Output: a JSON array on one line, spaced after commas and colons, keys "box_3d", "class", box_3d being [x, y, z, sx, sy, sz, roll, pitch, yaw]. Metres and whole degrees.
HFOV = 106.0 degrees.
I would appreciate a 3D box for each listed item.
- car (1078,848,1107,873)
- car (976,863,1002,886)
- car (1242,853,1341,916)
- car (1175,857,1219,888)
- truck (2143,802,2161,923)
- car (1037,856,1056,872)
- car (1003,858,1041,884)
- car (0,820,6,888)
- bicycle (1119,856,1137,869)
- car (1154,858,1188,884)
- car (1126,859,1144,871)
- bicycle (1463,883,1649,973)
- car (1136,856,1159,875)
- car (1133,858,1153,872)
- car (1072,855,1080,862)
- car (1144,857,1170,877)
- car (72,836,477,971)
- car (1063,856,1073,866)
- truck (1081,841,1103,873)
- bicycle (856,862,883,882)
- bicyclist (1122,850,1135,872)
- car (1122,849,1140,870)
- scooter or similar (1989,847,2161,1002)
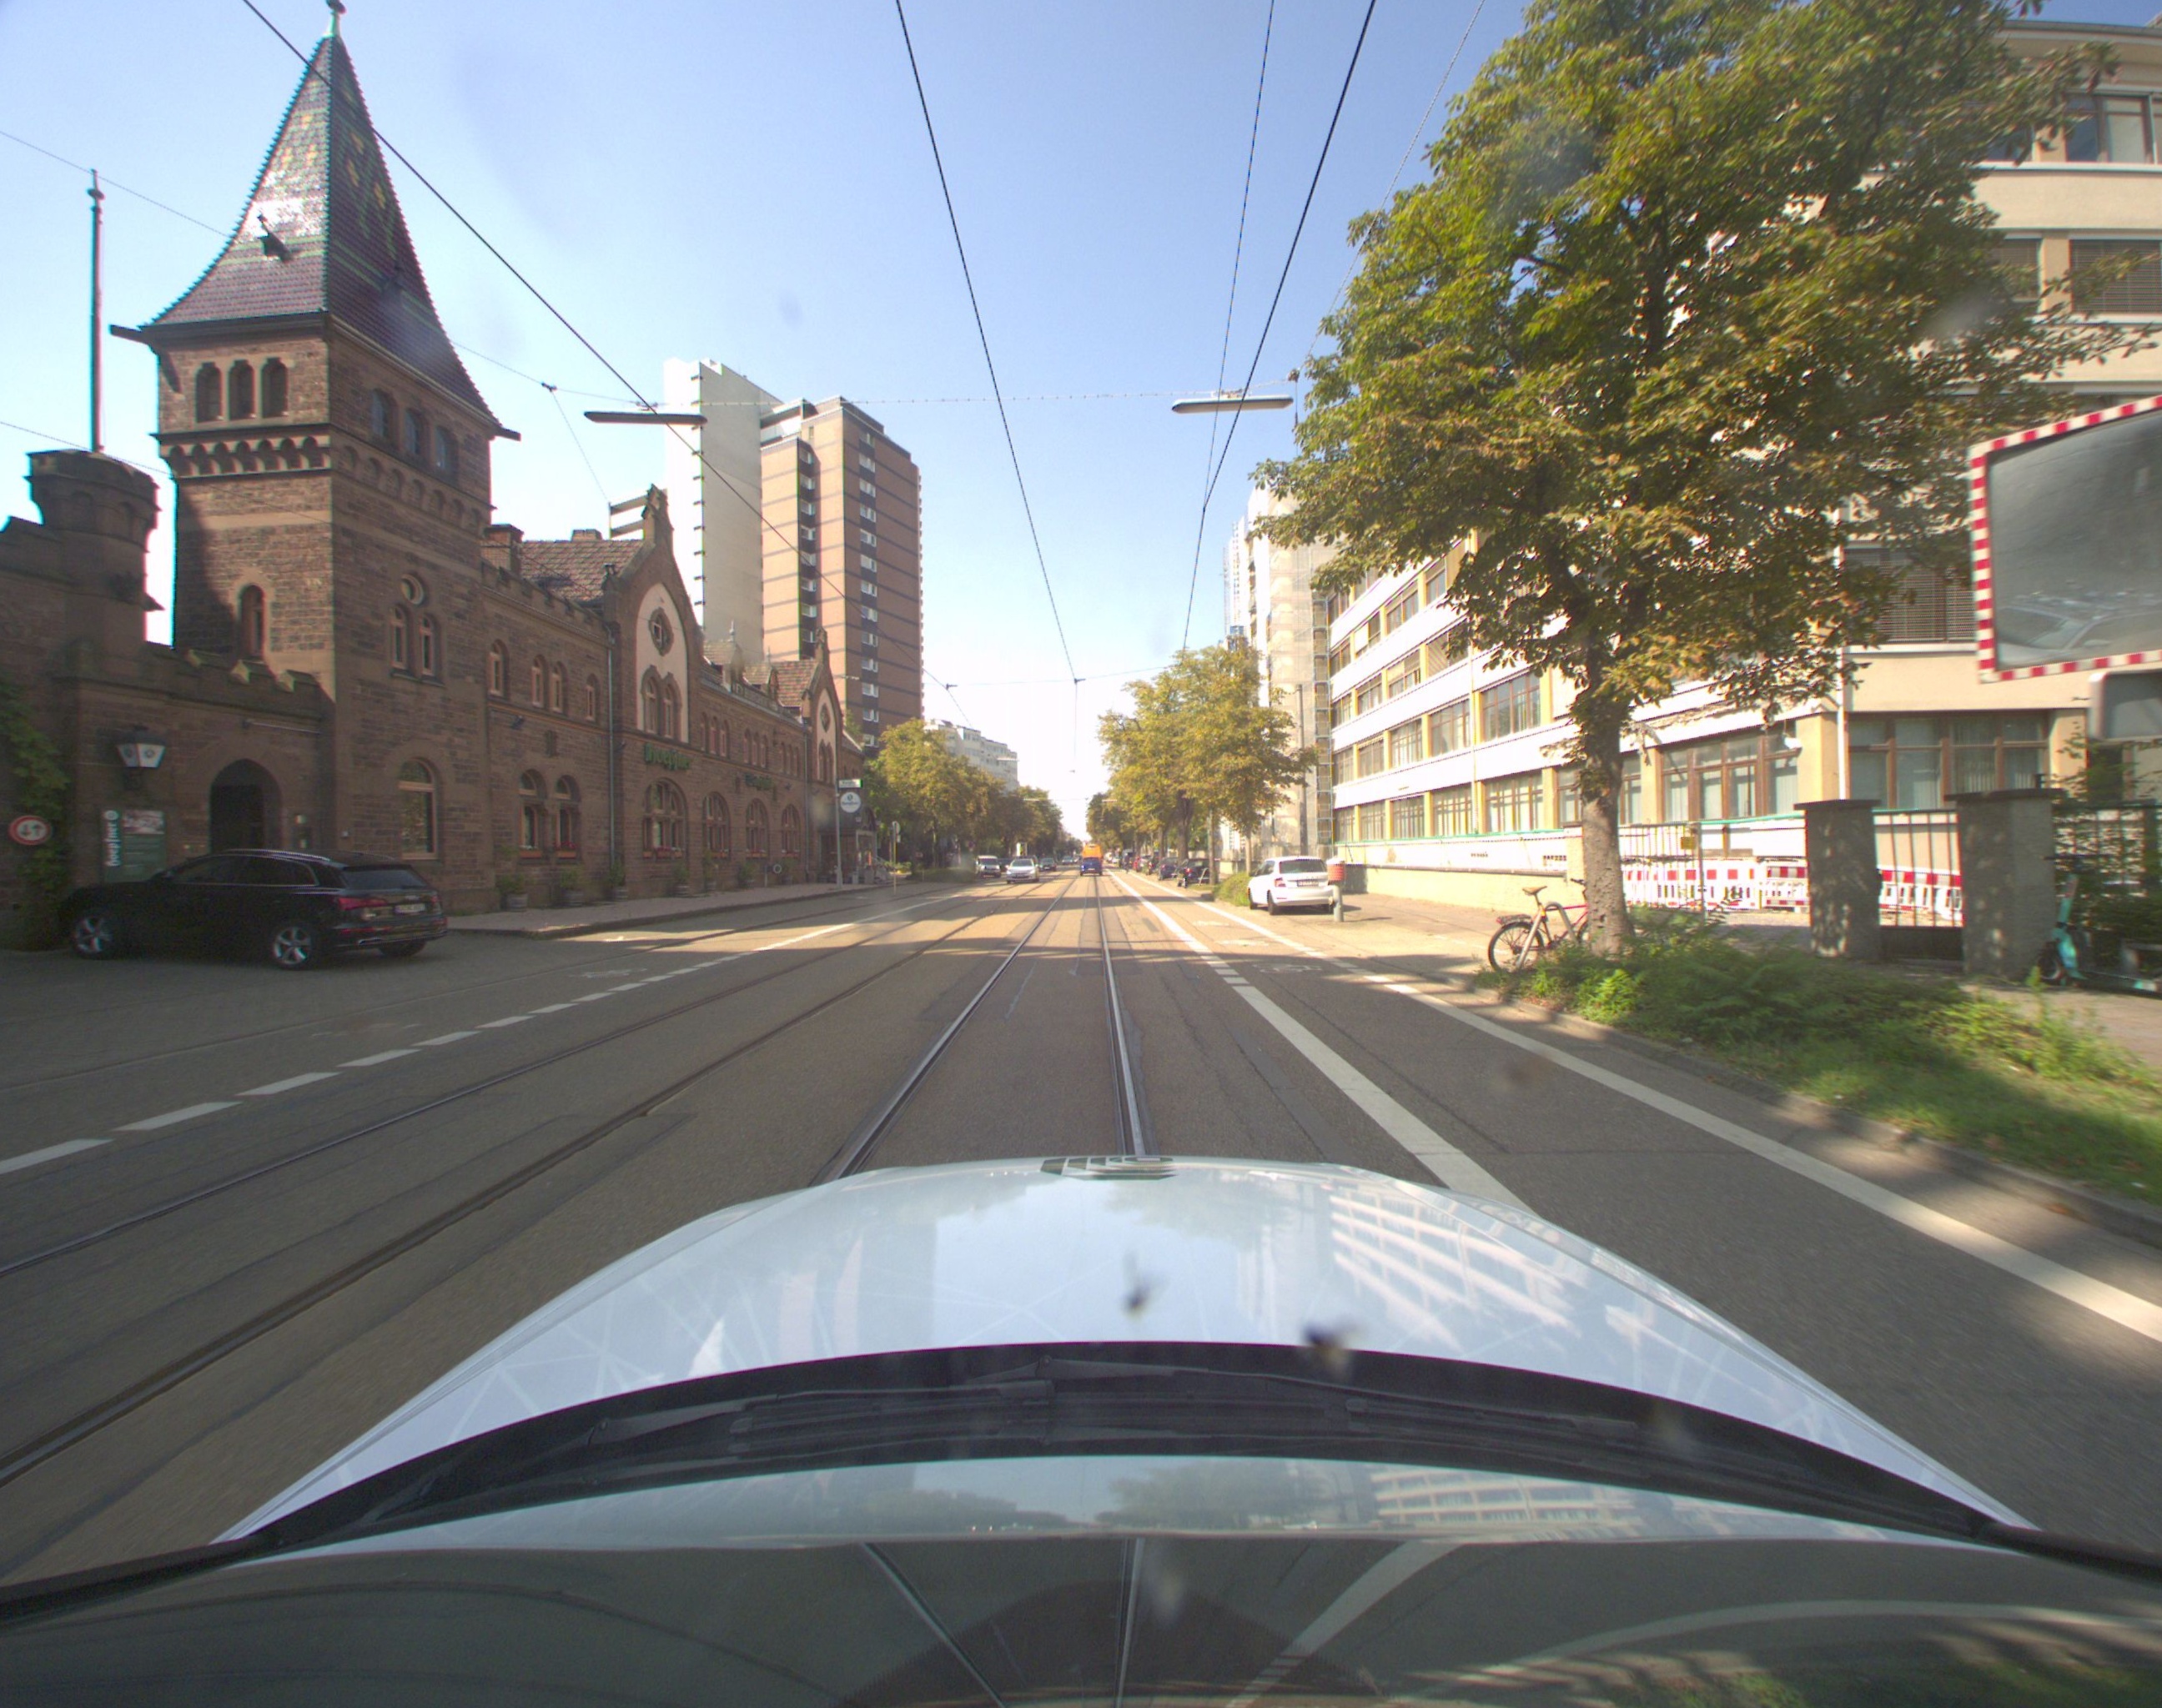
[{"box_3d": [0.943, 0.530, 65.442, 2.128, 1.858, 5.569, -2, 0, 1], "class": "car"}, {"box_3d": [-7.796, 1.690, 68.673, 1.749, 1.796, 3.982, -1, 0, -13], "class": "car"}, {"box_3d": [5.576, 0.772, 22.101, 1.653, 1.481, 4.218, -2, -1, 1], "class": "car"}, {"box_3d": [5.714, 0.877, 40.483, 1.653, 1.408, 4.218, -2, -1, 1], "class": "car"}, {"box_3d": [23.524, 0.131, 14.730, 5.486, 2.326, 2.300, -1, 0, 2], "class": "truck"}, {"box_3d": [-3.537, 1.031, 84.649, 1.675, 1.571, 4.207, -1, 0, 1], "class": "car"}, {"box_3d": [-3.670, 1.043, 51.414, 1.840, 1.492, 4.868, -1, 0, 1], "class": "car"}, {"box_3d": [-27.094, -0.009, 18.325, 1.618, 1.684, 3.972, -1, 0, -21], "class": "car"}, {"box_3d": [4.076, 0.722, 70.731, 1.397, 1.134, 4.000, -1, 0, 1], "class": "bicycle"}, {"box_3d": [5.718, 1.042, 52.033, 1.736, 1.556, 4.218, -2, -1, 1], "class": "car"}, {"box_3d": [6.332, 1.263, 95.746, 1.902, 1.431, 4.291, -1, 0, 0], "class": "car"}, {"box_3d": [5.416, 0.839, 9.341, 1.806, 0.958, 0.558, -1, 0, 0], "class": "bicycle"}, {"box_3d": [6.130, 1.007, 75.226, 1.735, 1.668, 4.361, -1, 0, 0], "class": "car"}, {"box_3d": [6.486, 1.144, 85.606, 1.735, 1.462, 3.683, -1, 0, 0], "class": "car"}, {"box_3d": [-1.161, 1.078, 184.693, 1.628, 1.585, 4.187, -1, 0, 0], "class": "car"}, {"box_3d": [6.052, 1.011, 65.131, 1.628, 1.585, 4.187, -1, 0, 0], "class": "car"}, {"box_3d": [-12.037, 0.687, 12.402, 4.120, 1.743, 2.001, 2, 0, 1], "class": "car"}, {"box_3d": [-2.409, 1.291, 149.306, 1.774, 1.684, 4.346, -1, 0, 0], "class": "car"}, {"box_3d": [1.121, 0.323, 84.464, 2.128, 3.124, 6.085, -2, 0, 1], "class": "truck"}, {"box_3d": [-12.578, 1.077, 48.385, 1.448, 1.093, 0.399, 2, -1, -4], "class": "bicycle"}, {"box_3d": [4.111, 0.602, 70.722, 1.028, 1.812, 1.016, -1, 0, 0], "class": "bicyclist"}, {"box_3d": [6.486, 0.704, 106.344, 1.987, 2.755, 5.760, -1, 0, 0], "class": "car"}, {"box_3d": [9.083, 0.573, 7.012, 0.554, 1.259, 1.819, -1, 0, 3], "class": "scooter or similar"}]
